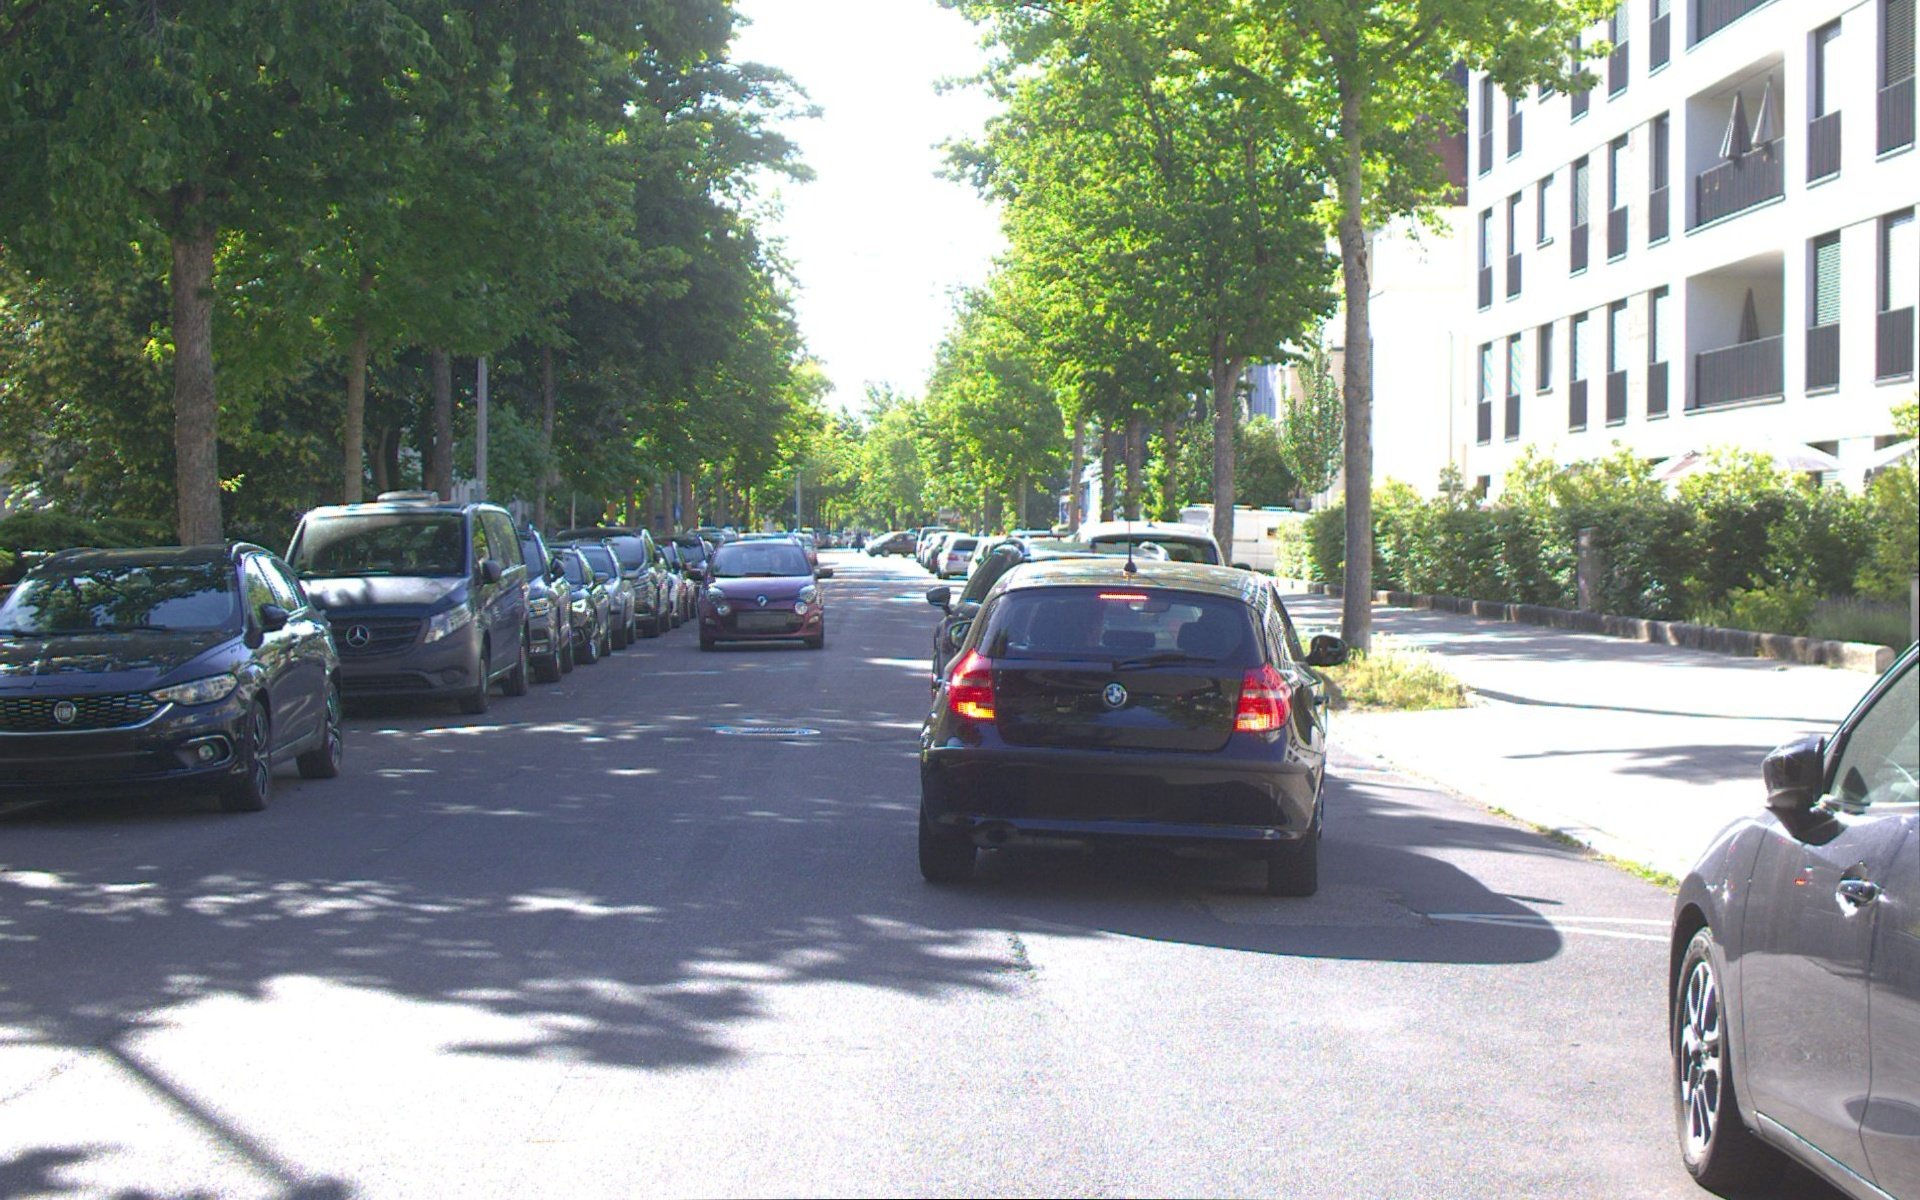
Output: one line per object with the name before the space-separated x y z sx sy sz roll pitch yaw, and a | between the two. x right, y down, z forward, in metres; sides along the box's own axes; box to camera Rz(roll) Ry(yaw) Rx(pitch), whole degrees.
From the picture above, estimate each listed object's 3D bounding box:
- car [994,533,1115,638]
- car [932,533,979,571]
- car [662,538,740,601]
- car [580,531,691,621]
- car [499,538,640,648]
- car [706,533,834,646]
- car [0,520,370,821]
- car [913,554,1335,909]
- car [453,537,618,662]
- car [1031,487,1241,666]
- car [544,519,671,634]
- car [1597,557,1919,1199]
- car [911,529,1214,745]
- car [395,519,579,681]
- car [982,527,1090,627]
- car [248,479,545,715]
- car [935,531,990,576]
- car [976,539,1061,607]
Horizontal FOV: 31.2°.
car | 1.458 -0.254 54.282 1.721 1.523 4.000 2 1 0
car | -0.158 -1.912 135.761 1.721 1.475 3.851 0 1 2
car | -5.939 -0.712 79.113 1.612 1.387 3.866 -1 1 -2
car | -5.460 -0.425 58.138 1.612 1.447 3.866 -1 1 -2
car | -5.299 -0.127 46.997 1.612 1.422 3.726 -1 1 -2
car | -2.488 -0.162 45.552 1.505 1.421 3.178 0 1 0
car | -4.634 0.331 20.464 1.507 1.543 4.779 -2 1 -2
car | 0.640 0.509 15.595 1.649 1.392 3.412 0 1 -2
car | -5.125 -0.048 41.905 1.612 1.422 4.058 -1 1 -2
car | 1.684 -0.240 34.151 1.848 1.625 4.410 1 1 0
car | -5.339 -0.386 52.434 1.612 1.673 4.235 -1 1 -2
car | 2.512 0.655 6.783 1.700 1.444 4.083 0 1 -1
car | 0.661 0.206 24.907 1.649 1.420 4.002 0 1 -6
car | -4.977 -0.041 36.596 1.612 1.606 4.230 -1 1 -4
car | 1.298 -0.427 60.287 1.721 1.635 3.851 2 1 0
car | -4.929 -0.077 30.768 1.826 1.898 5.142 -1 1 -1
car | 0.113 -1.578 115.471 1.721 1.475 3.851 0 1 2
car | 1.263 -0.616 75.407 1.721 1.374 3.851 2 1 0
